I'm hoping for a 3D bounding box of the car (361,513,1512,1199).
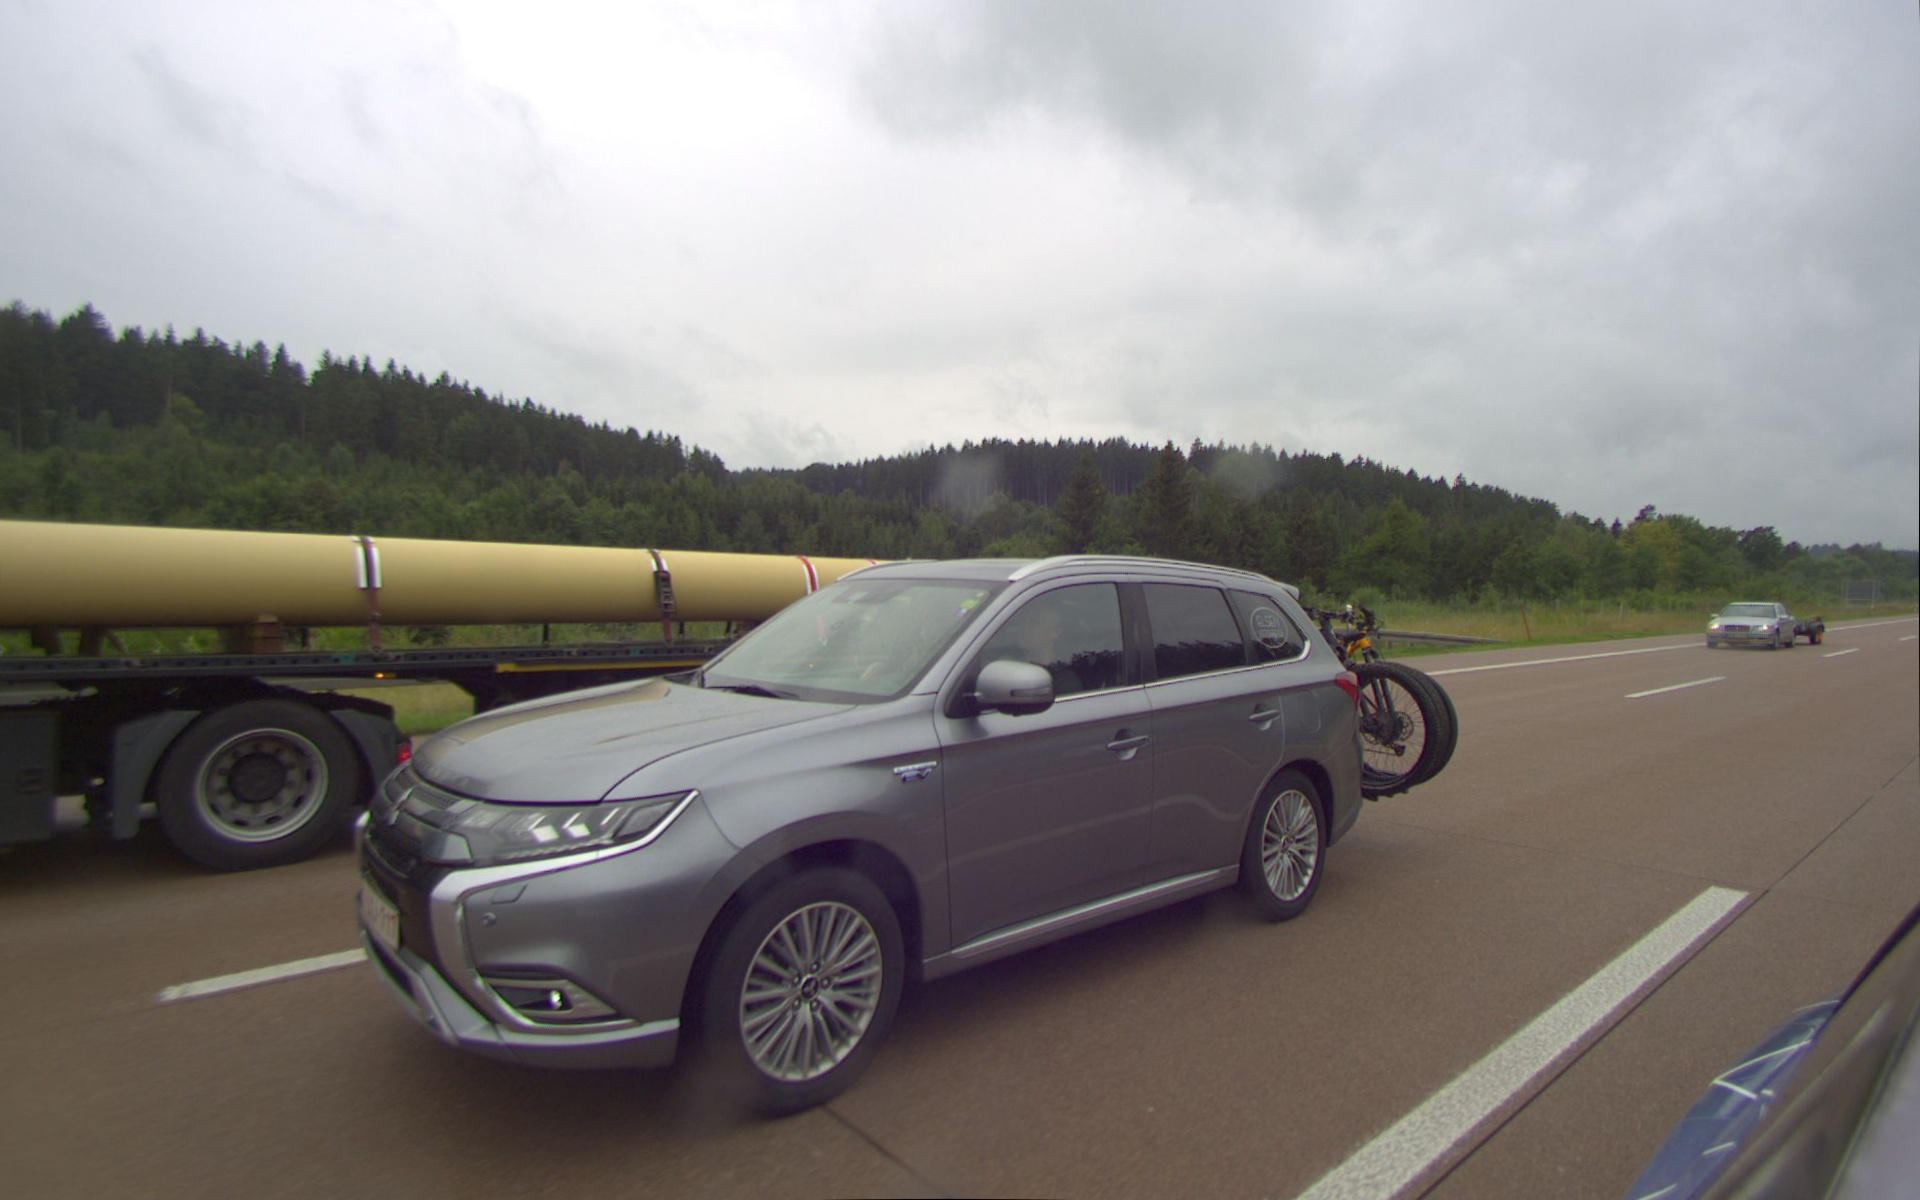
[{"bbox_3d":[0.515,0.530,4.996,5.719,1.612,1.997,-2,1,-41],"label":"car"}]

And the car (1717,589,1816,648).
[{"bbox_3d":[25.304,0.503,31.702,4.893,1.631,1.700,-2,2,-43],"label":"car"}]

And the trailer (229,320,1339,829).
[{"bbox_3d":[-0.321,-0.279,10.214,11.204,2.709,2.885,-2,1,-42],"label":"trailer"}]

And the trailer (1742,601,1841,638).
[{"bbox_3d":[28.688,0.637,34.867,4.559,1.181,1.974,0,0,-42],"label":"trailer"}]

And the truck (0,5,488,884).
[{"bbox_3d":[-6.344,-0.682,4.797,6.870,4.014,2.901,-2,1,-42],"label":"truck"}]
